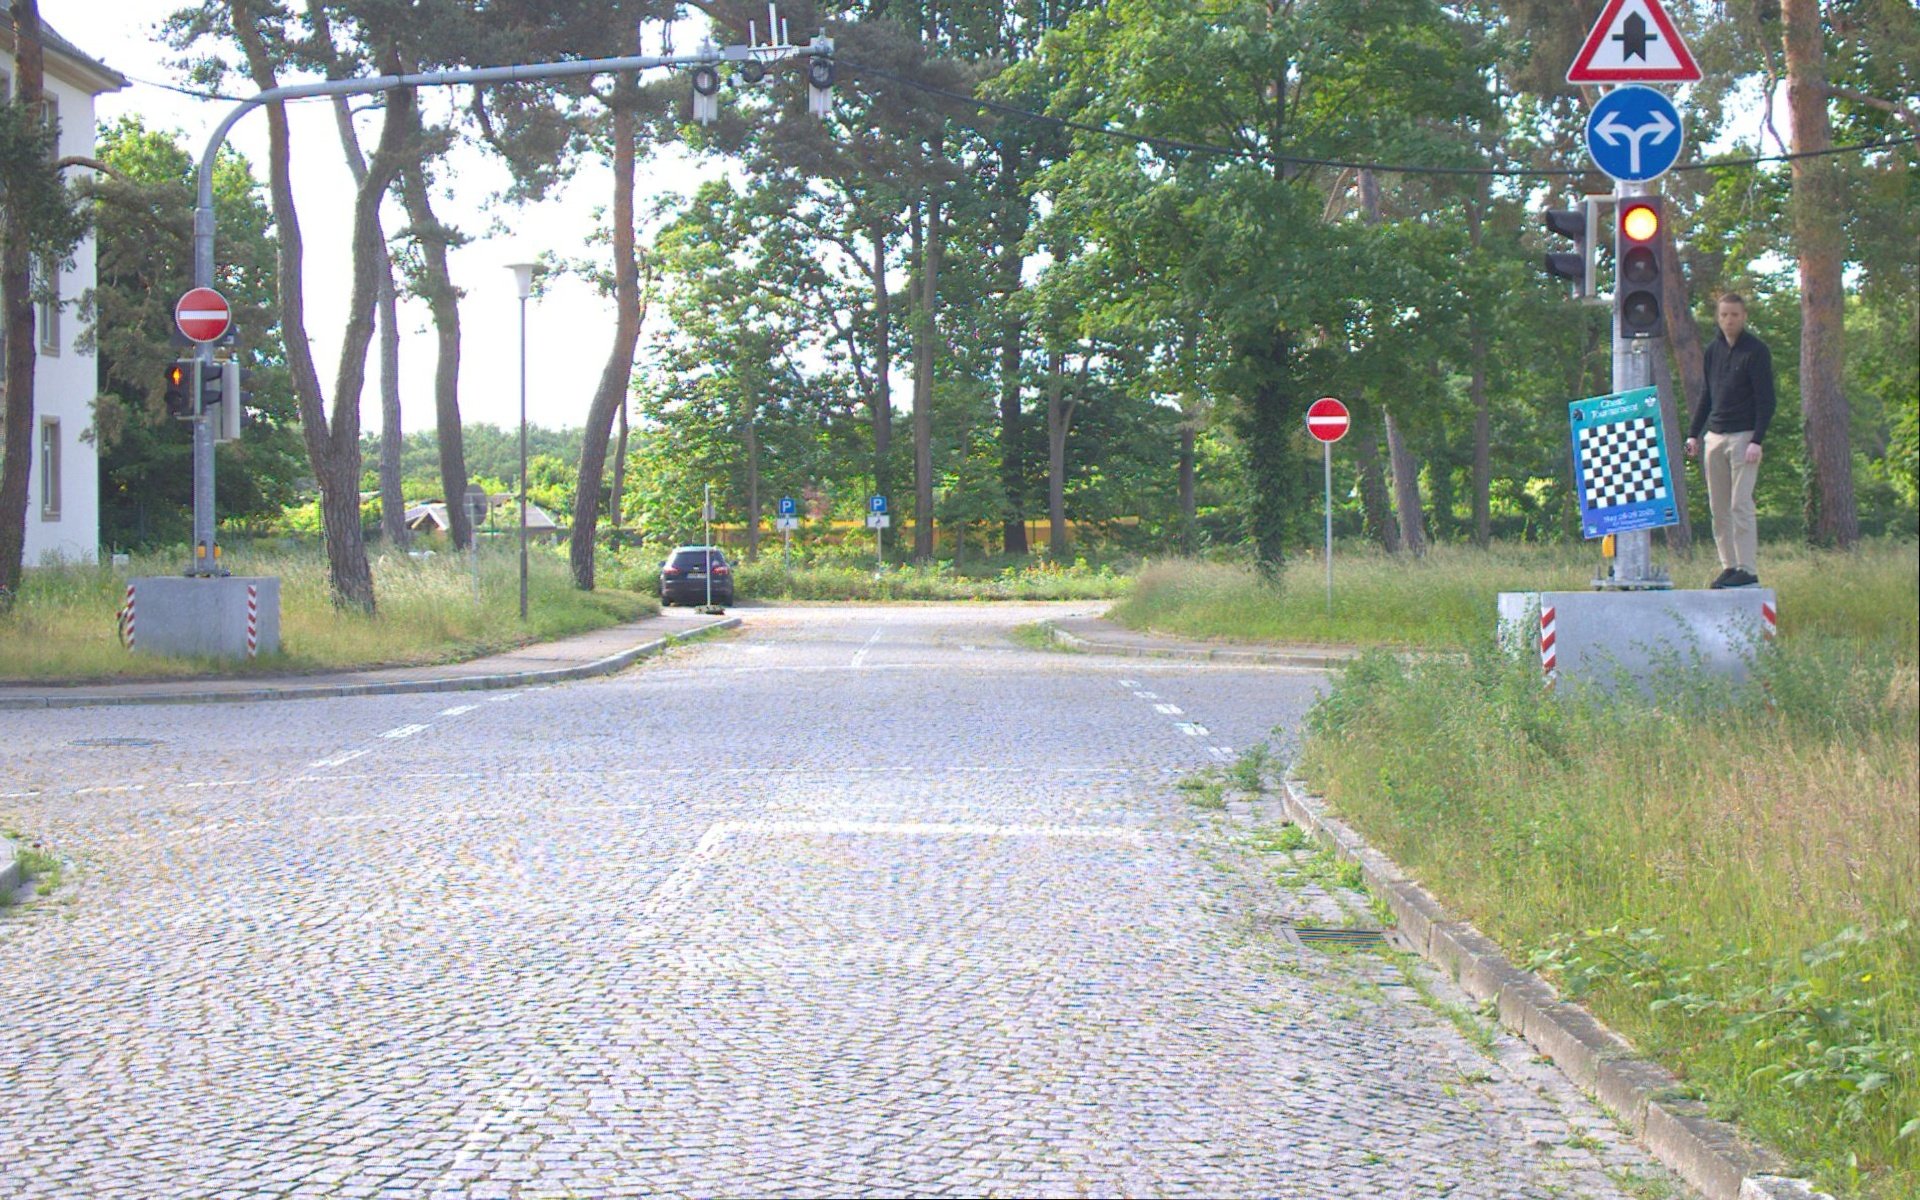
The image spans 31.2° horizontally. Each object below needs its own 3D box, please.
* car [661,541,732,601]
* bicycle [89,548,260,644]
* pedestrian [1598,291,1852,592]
[{"bbox_3d":[-6.798,-0.775,89.007,1.709,1.491,3.919,0,1,-3],"label":"car"},{"bbox_3d":[-9.041,-0.058,39.614,0.634,1.062,1.946,0,1,38],"label":"bicycle"},{"bbox_3d":[4.740,-0.961,21.293,1.171,1.790,1.060,0,1,39],"label":"pedestrian"}]
